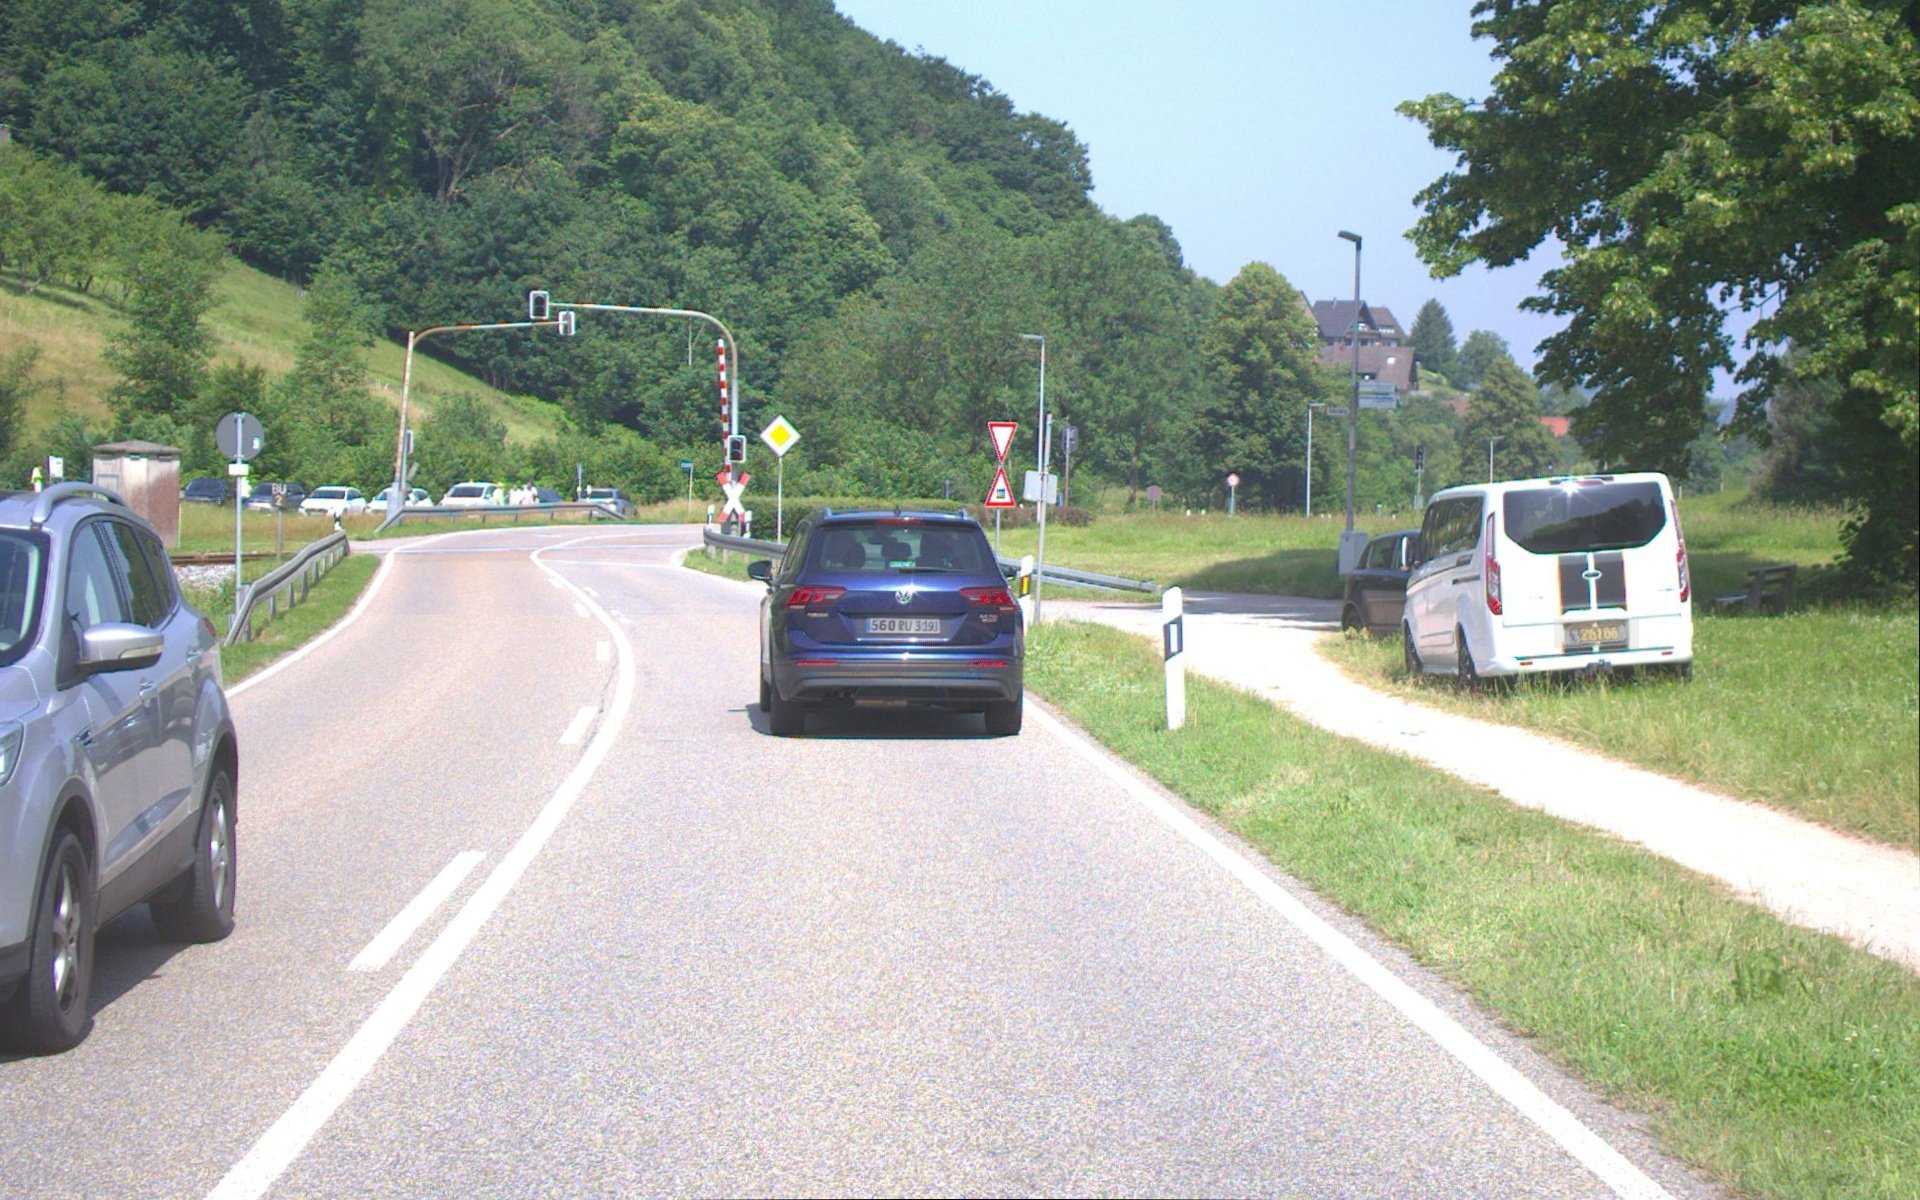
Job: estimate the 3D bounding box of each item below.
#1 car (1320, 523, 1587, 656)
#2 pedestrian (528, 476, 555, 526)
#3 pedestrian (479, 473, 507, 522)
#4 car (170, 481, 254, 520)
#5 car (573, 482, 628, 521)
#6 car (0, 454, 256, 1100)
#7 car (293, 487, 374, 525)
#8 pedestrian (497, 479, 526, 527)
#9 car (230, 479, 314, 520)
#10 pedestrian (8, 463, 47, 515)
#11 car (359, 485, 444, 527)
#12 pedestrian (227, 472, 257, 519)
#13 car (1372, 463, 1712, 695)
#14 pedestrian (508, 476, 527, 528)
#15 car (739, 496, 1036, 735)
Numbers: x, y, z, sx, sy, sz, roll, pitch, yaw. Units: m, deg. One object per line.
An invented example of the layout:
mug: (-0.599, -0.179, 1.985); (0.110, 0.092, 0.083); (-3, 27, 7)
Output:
car: (5.756, -0.133, 40.508); (1.673, 1.452, 3.717); (-2, 1, -17)
pedestrian: (-15.676, -3.719, 128.906); (0.648, 1.852, 0.769); (1, 2, 41)
pedestrian: (-17.336, -3.799, 127.536); (0.788, 1.836, 0.698); (1, 2, 19)
car: (-29.655, -3.949, 136.429); (1.994, 1.495, 4.521); (0, 1, 5)
car: (-13.961, -3.817, 133.613); (1.826, 1.495, 4.278); (0, 1, -2)
car: (-3.562, 0.406, 11.104); (1.915, 1.708, 4.160); (0, 2, -3)
car: (-24.696, -3.704, 135.698); (1.994, 1.495, 4.521); (0, 1, 5)
pedestrian: (-16.797, -3.631, 128.789); (0.770, 1.790, 0.792); (1, 2, 34)
car: (-27.183, -3.976, 136.024); (1.994, 1.495, 4.521); (3, 2, 5)
pedestrian: (-35.728, -4.252, 131.699); (1.127, 1.962, 0.861); (1, 1, 23)
car: (-22.003, -3.697, 135.656); (1.994, 1.635, 4.901); (0, 2, 8)
pedestrian: (-27.093, -3.950, 129.746); (0.954, 1.788, 1.000); (0, 2, -1)
car: (5.265, -0.248, 31.797); (1.999, 1.842, 4.869); (-4, 2, -3)
pedestrian: (-16.560, -3.683, 128.682); (0.660, 1.948, 0.533); (0, 2, -2)
car: (-0.628, 0.060, 25.802); (1.852, 1.643, 4.141); (0, 1, -6)
